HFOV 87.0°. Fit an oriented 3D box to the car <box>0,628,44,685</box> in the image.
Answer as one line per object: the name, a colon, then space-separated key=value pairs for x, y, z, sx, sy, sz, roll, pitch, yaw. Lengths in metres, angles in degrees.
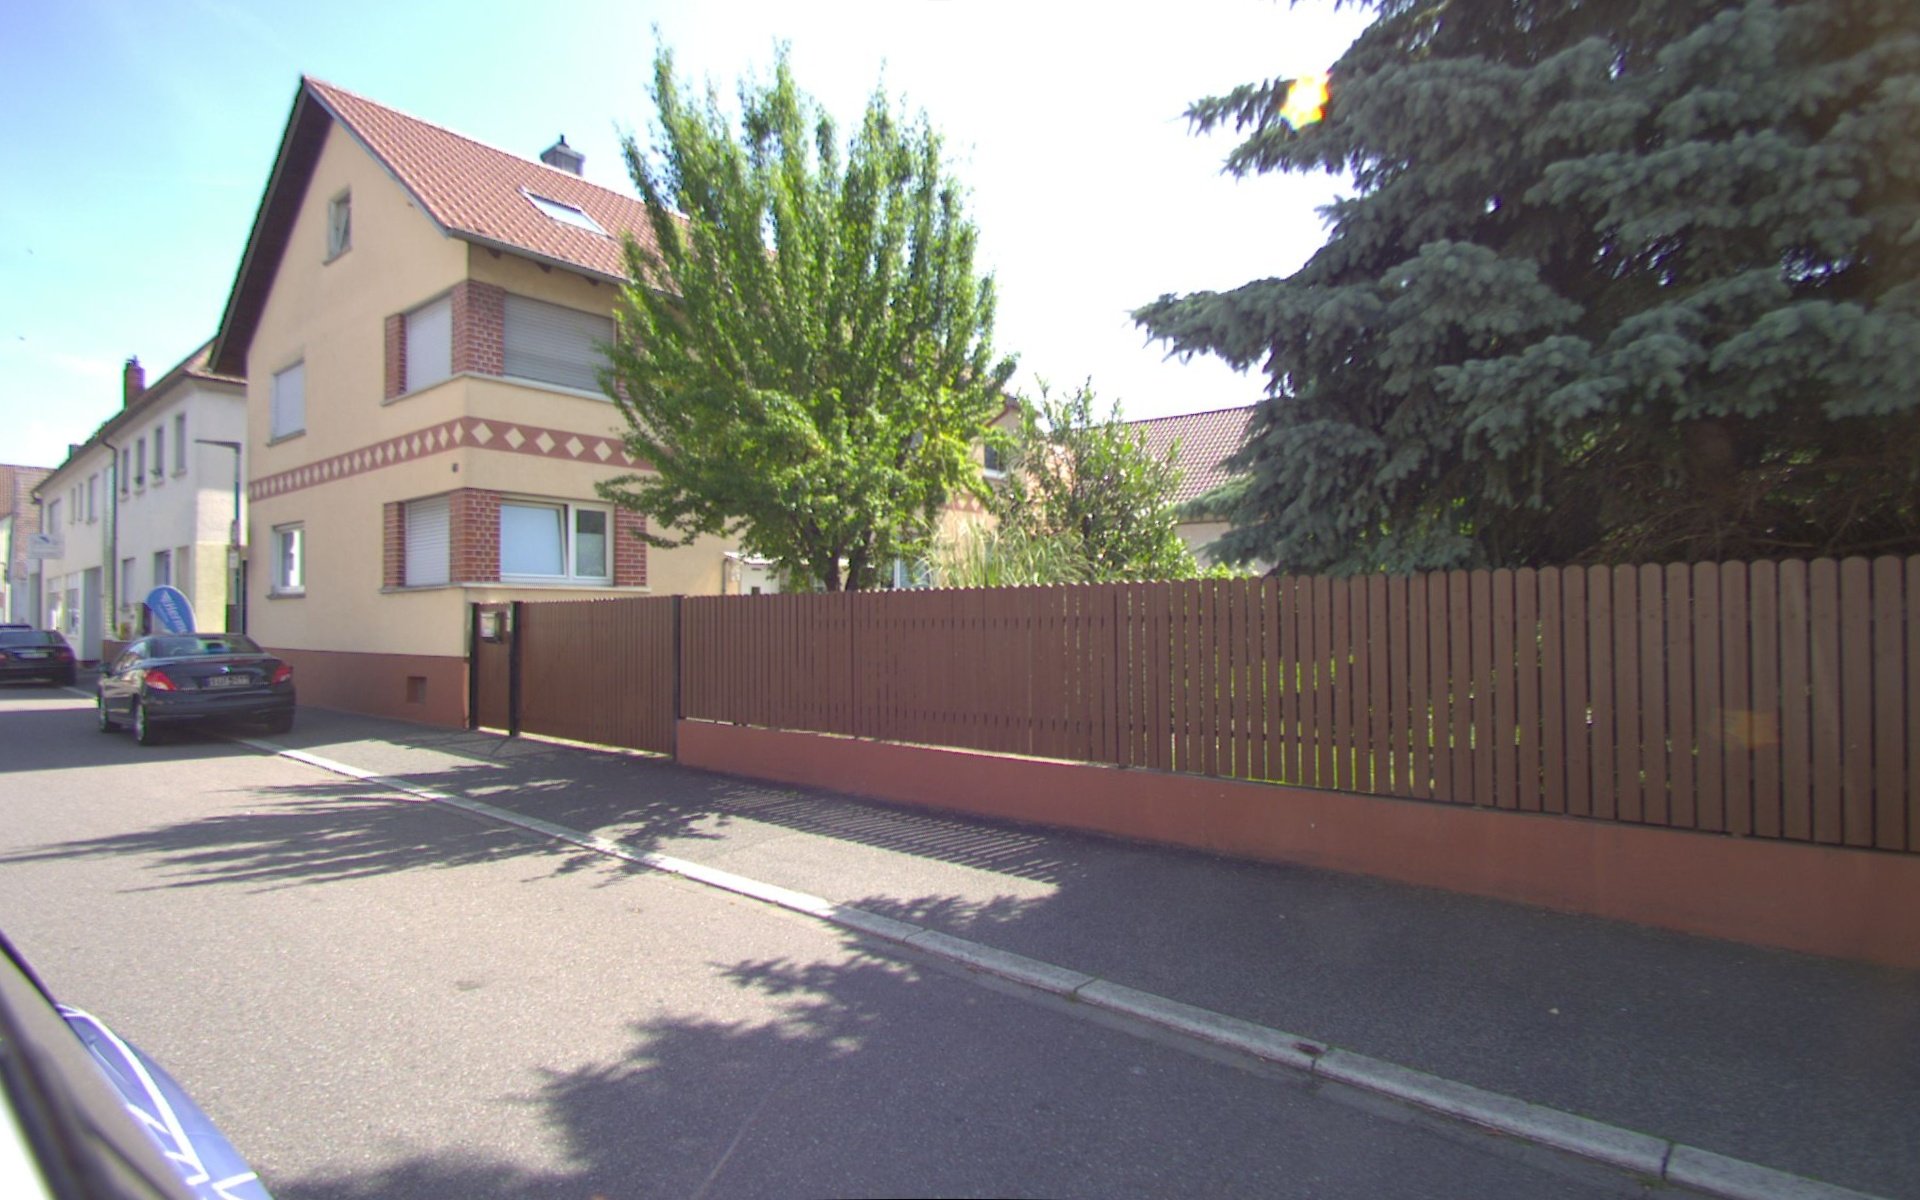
car: x=-29.193 y=1.670 z=30.594 sx=4.146 sy=1.652 sz=1.699 roll=-2 pitch=-4 yaw=41

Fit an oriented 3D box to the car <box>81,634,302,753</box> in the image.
car: x=-10.881 y=1.194 z=14.223 sx=4.065 sy=1.384 sz=1.743 roll=-2 pitch=-1 yaw=42

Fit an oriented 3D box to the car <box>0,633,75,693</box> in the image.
car: x=-24.306 y=1.584 z=26.148 sx=4.389 sy=1.422 sz=1.679 roll=-2 pitch=-2 yaw=43
